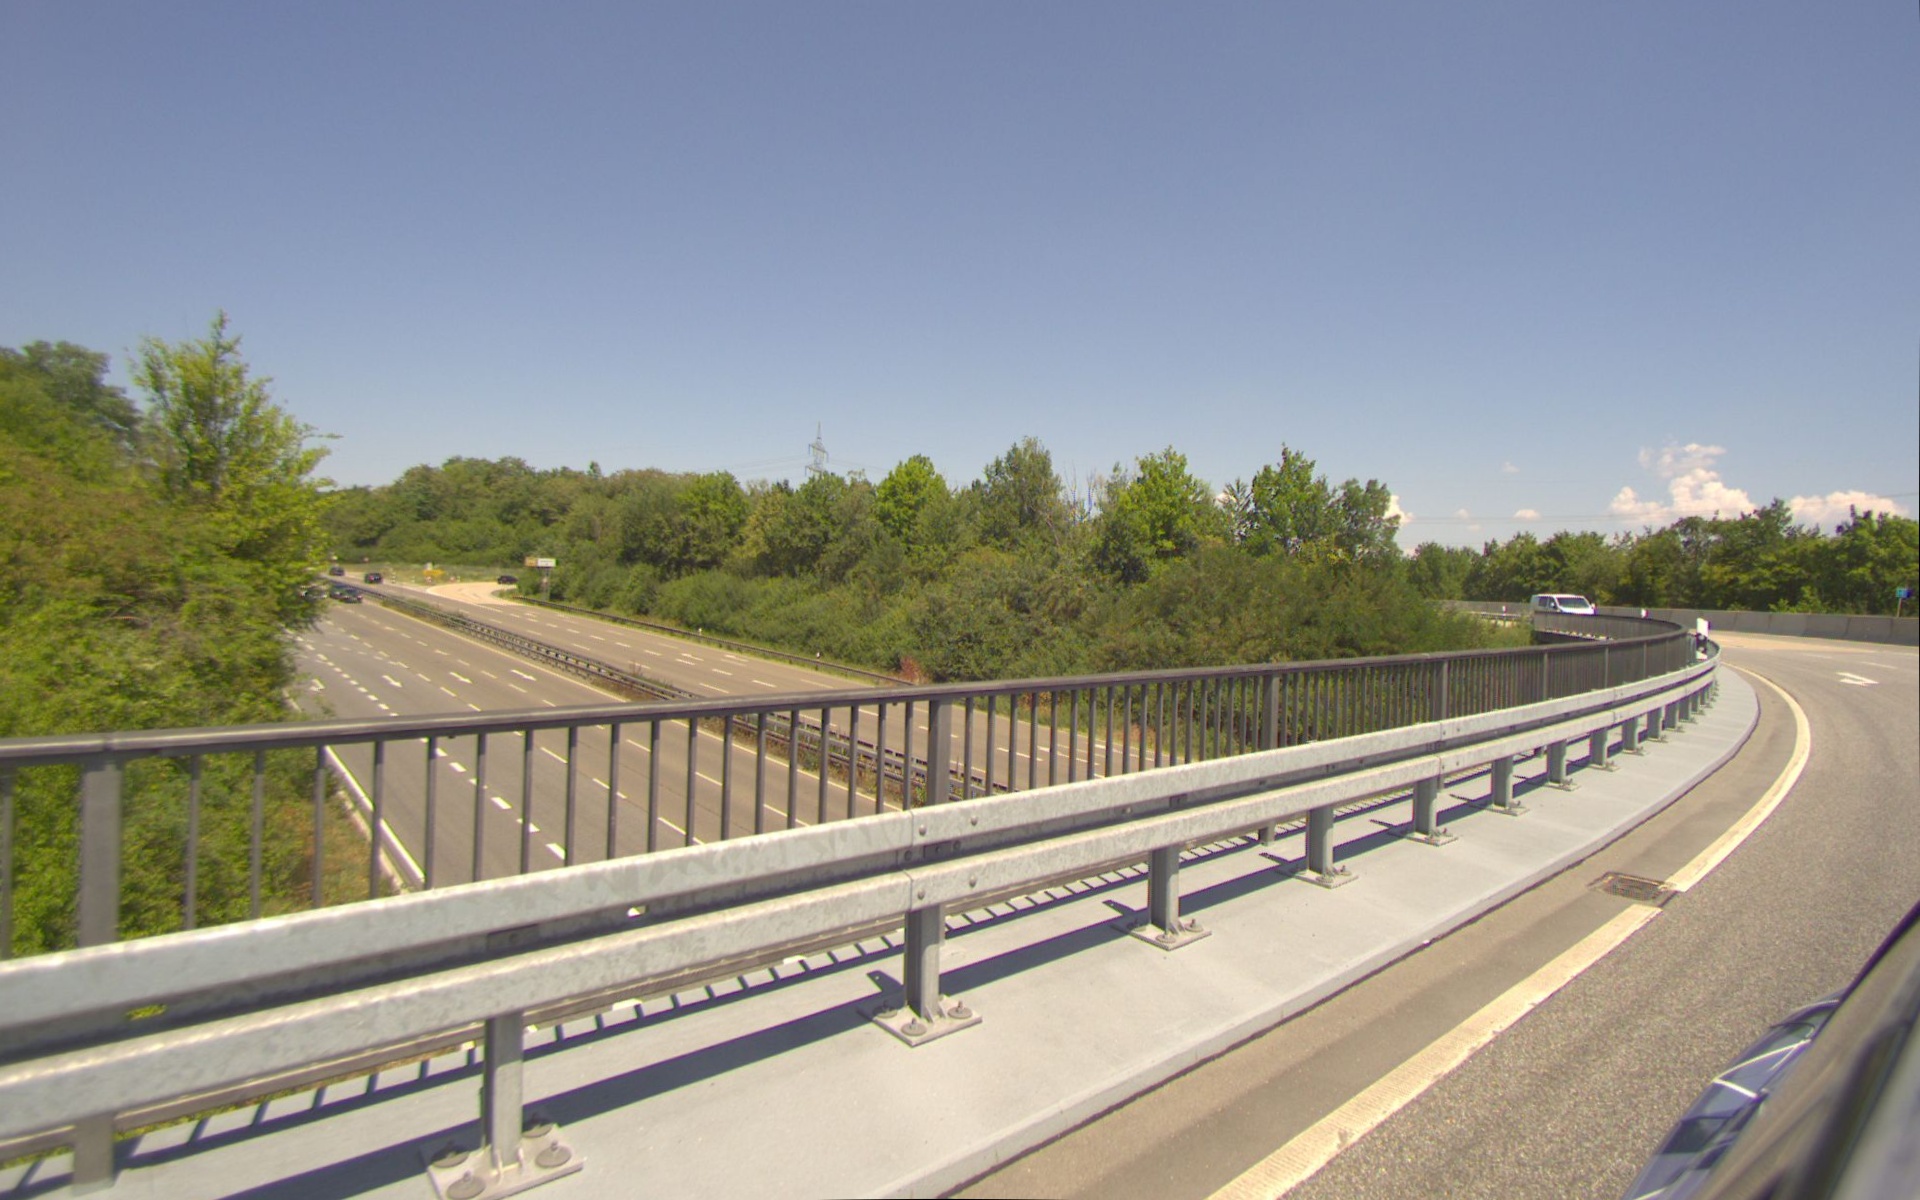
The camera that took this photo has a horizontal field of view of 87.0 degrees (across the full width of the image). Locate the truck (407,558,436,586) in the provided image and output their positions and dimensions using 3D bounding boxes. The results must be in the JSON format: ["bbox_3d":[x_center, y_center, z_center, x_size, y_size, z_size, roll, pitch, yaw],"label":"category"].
[{"bbox_3d":[-81.380,-4.239,152.771,1.965,4.000,9.071,0,2,-40],"label":"truck"}]

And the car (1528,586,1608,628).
[{"bbox_3d":[34.520,0.335,57.662,2.001,2.110,5.852,1,2,12],"label":"car"}]

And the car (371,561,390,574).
[{"bbox_3d":[-96.939,-5.395,169.231,1.965,2.038,3.995,0,2,-40],"label":"car"}]

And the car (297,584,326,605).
[{"bbox_3d":[-67.593,-0.592,105.486,1.965,2.038,3.995,0,2,-41],"label":"car"}]

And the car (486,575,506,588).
[{"bbox_3d":[-76.794,-3.058,167.377,1.965,2.038,3.995,0,2,-40],"label":"car"}]

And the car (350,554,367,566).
[{"bbox_3d":[-107.056,-7.068,180.033,1.965,2.038,3.995,0,2,-40],"label":"car"}]

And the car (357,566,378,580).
[{"bbox_3d":[-87.037,-3.966,148.614,1.965,1.880,3.995,0,2,-40],"label":"car"}]

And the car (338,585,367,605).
[{"bbox_3d":[-65.247,-0.558,108.679,1.965,2.038,3.995,0,2,-41],"label":"car"}]

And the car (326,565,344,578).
[{"bbox_3d":[-104.707,-4.798,169.523,1.965,2.038,3.995,0,2,-40],"label":"car"}]

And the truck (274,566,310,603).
[{"bbox_3d":[-77.084,-1.881,116.686,2.664,4.060,8.876,0,2,-39],"label":"truck"}]
